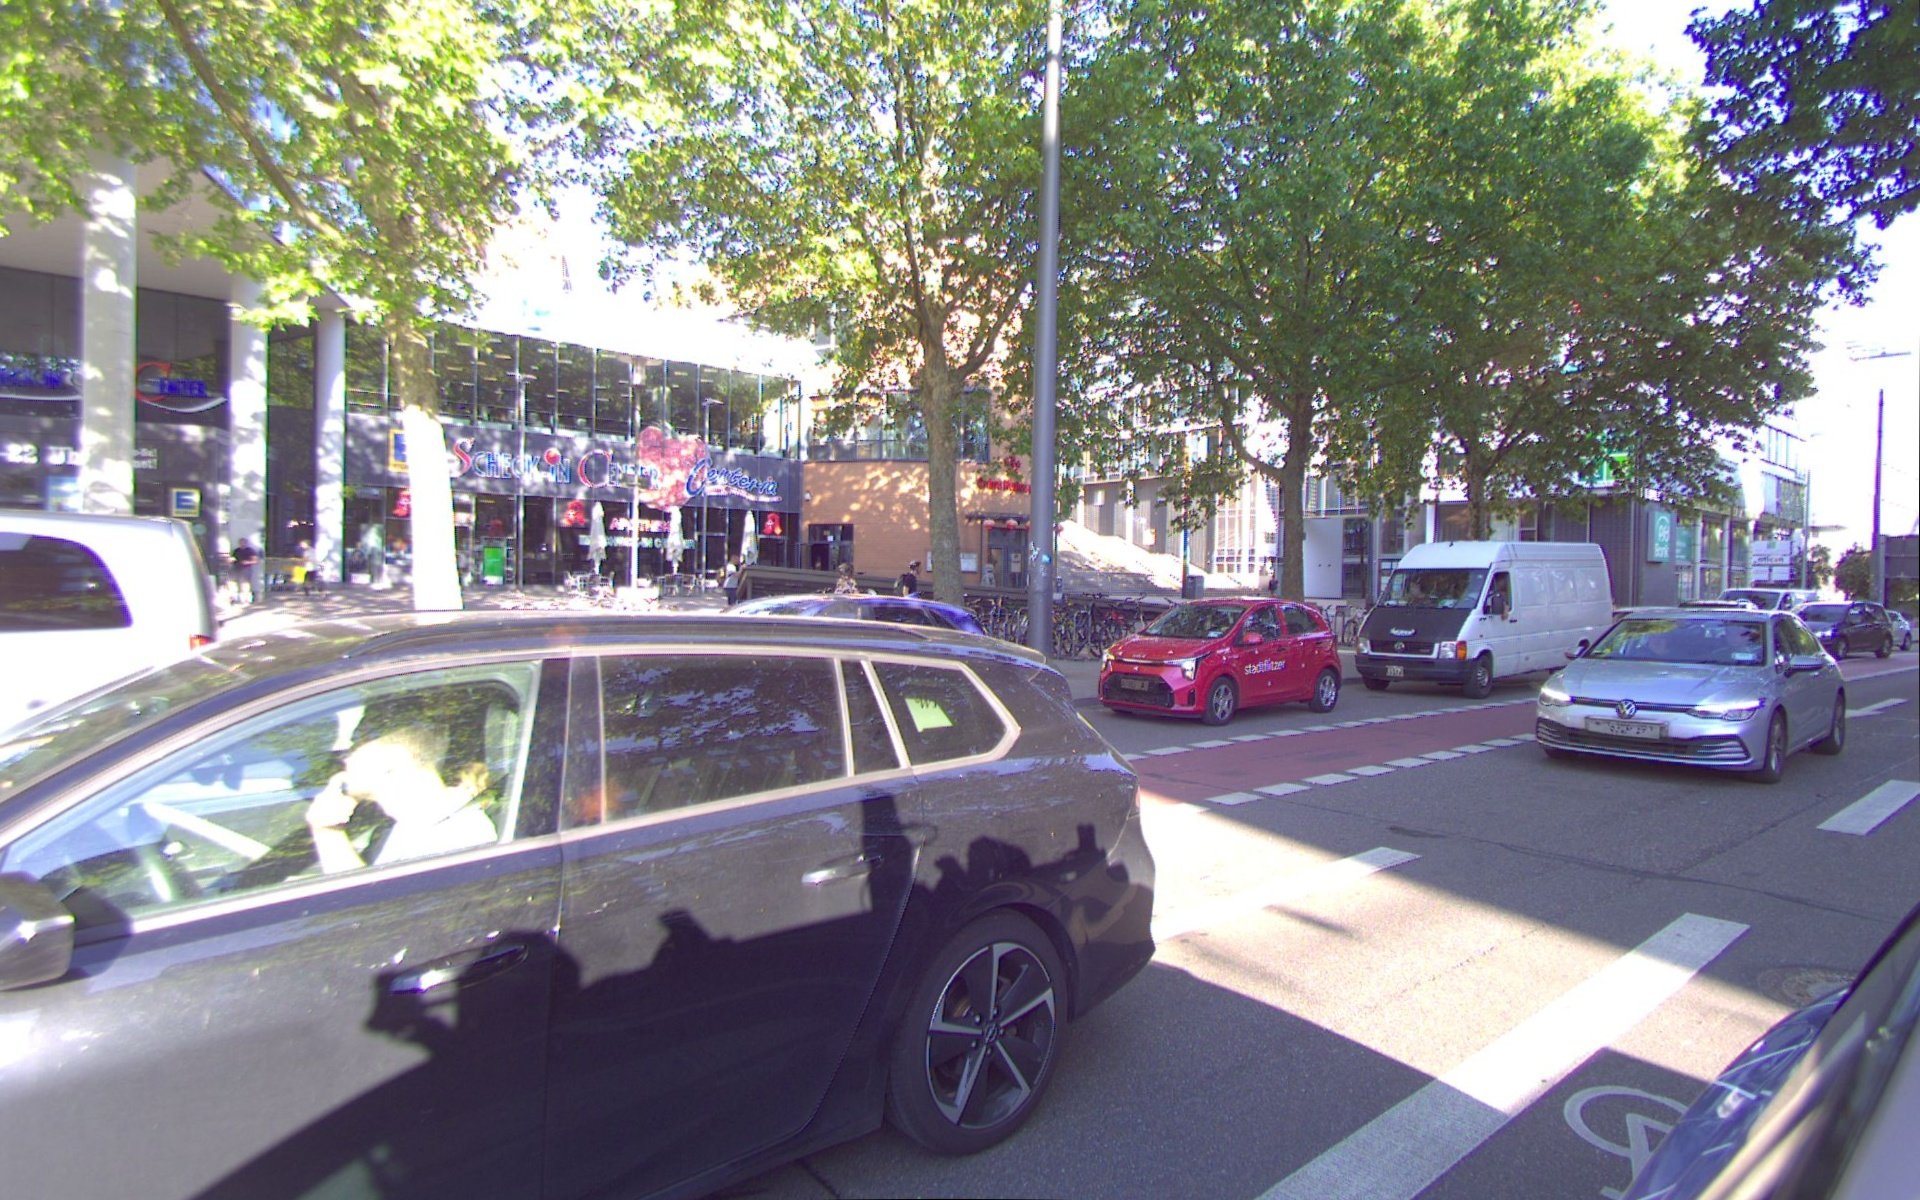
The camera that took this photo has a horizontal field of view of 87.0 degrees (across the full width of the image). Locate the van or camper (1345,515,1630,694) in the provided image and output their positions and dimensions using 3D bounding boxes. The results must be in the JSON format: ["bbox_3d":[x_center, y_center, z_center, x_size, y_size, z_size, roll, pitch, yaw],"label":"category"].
[{"bbox_3d":[9.328,0.050,17.567,6.456,2.611,1.998,0,0,-39],"label":"van or camper"}]

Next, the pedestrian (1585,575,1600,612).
[{"bbox_3d":[23.937,-0.235,38.283,0.492,1.392,0.301,0,1,-37],"label":"pedestrian"}]

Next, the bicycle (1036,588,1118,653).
[{"bbox_3d":[2.302,0.390,19.751,1.818,1.209,0.448,0,1,-41],"label":"bicycle"}]

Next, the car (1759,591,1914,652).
[{"bbox_3d":[25.299,0.583,29.191,4.242,1.640,1.970,0,1,-28],"label":"car"}]

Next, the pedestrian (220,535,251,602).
[{"bbox_3d":[-18.695,-0.804,26.114,0.506,1.707,0.604,1,1,-23],"label":"pedestrian"}]

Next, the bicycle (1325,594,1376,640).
[{"bbox_3d":[10.668,0.456,27.632,1.818,1.209,0.495,0,2,-41],"label":"bicycle"}]

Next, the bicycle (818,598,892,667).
[{"bbox_3d":[-1.768,0.533,17.118,1.202,1.110,0.420,0,1,-40],"label":"bicycle"}]

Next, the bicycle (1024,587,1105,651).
[{"bbox_3d":[2.114,0.364,20.260,1.818,1.209,0.484,0,2,-41],"label":"bicycle"}]

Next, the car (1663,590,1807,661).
[{"bbox_3d":[19.750,0.594,25.739,4.148,1.640,1.819,0,1,-36],"label":"car"}]

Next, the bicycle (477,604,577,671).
[{"bbox_3d":[-6.235,0.520,14.597,1.231,0.898,0.462,0,1,-40],"label":"bicycle"}]

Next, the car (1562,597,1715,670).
[{"bbox_3d":[15.044,0.675,22.381,3.927,1.446,1.683,0,1,-38],"label":"car"}]

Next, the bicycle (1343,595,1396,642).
[{"bbox_3d":[11.036,0.480,27.233,1.818,1.209,0.521,0,2,-41],"label":"bicycle"}]

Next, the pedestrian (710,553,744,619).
[{"bbox_3d":[-6.423,-0.386,27.936,0.869,1.805,0.604,1,1,-11],"label":"pedestrian"}]

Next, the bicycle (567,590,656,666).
[{"bbox_3d":[-5.356,0.407,15.589,0.372,1.110,1.269,2,1,41],"label":"bicycle"}]

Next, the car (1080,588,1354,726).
[{"bbox_3d":[3.331,0.610,12.814,3.588,1.476,1.605,0,1,-41],"label":"car"}]

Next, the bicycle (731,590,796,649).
[{"bbox_3d":[-3.884,0.374,20.049,1.202,1.110,0.429,0,1,-40],"label":"bicycle"}]

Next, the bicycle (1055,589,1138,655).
[{"bbox_3d":[2.624,0.400,19.365,1.818,1.209,0.481,0,2,-41],"label":"bicycle"}]

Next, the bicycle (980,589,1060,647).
[{"bbox_3d":[1.259,0.353,20.969,1.818,1.139,0.484,0,2,-41],"label":"bicycle"}]

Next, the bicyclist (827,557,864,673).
[{"bbox_3d":[-1.795,0.228,15.816,0.392,1.782,0.390,0,1,-41],"label":"bicyclist"}]

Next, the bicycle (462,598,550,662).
[{"bbox_3d":[-6.955,0.455,15.543,1.198,0.930,0.442,1,1,-22],"label":"bicycle"}]

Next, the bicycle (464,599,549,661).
[{"bbox_3d":[-7.117,0.464,15.921,1.198,0.938,0.465,1,1,-22],"label":"bicycle"}]

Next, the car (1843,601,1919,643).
[{"bbox_3d":[33.520,0.752,36.517,3.927,1.394,1.802,0,2,-38],"label":"car"}]

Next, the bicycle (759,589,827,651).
[{"bbox_3d":[-3.103,0.367,18.842,1.202,1.110,0.427,0,1,-40],"label":"bicycle"}]

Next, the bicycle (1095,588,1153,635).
[{"bbox_3d":[4.393,0.307,27.067,1.759,1.209,0.517,0,2,-41],"label":"bicycle"}]

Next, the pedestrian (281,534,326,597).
[{"bbox_3d":[-18.373,-0.962,28.317,0.795,1.728,0.714,1,1,16],"label":"pedestrian"}]

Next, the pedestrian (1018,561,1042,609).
[{"bbox_3d":[3.022,-0.653,43.522,0.575,2.062,0.876,1,1,-35],"label":"pedestrian"}]

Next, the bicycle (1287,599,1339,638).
[{"bbox_3d":[9.929,0.507,28.455,1.818,1.046,0.515,0,2,-41],"label":"bicycle"}]

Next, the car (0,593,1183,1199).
[{"bbox_3d":[-1.446,0.701,2.445,4.196,1.432,1.742,0,0,-41],"label":"car"}]

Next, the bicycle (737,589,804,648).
[{"bbox_3d":[-3.639,0.345,19.506,1.202,1.110,0.444,0,1,-40],"label":"bicycle"}]

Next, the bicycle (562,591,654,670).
[{"bbox_3d":[-5.154,0.425,14.840,1.202,1.110,0.396,0,1,-40],"label":"bicycle"}]

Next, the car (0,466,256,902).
[{"bbox_3d":[-6.199,0.359,4.375,5.008,2.004,1.940,0,2,-41],"label":"car"}]

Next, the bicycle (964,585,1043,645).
[{"bbox_3d":[0.938,0.298,21.349,1.818,1.209,0.458,0,1,-41],"label":"bicycle"}]

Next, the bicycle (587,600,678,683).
[{"bbox_3d":[-4.577,0.566,14.181,1.202,1.110,0.269,0,1,-40],"label":"bicycle"}]

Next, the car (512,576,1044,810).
[{"bbox_3d":[-1.368,0.590,8.645,4.177,1.503,1.742,0,2,-41],"label":"car"}]

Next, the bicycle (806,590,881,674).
[{"bbox_3d":[-1.814,0.481,15.825,1.126,1.271,0.379,0,1,-41],"label":"bicycle"}]

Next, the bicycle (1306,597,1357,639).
[{"bbox_3d":[10.312,0.483,28.045,1.766,1.108,0.522,0,2,-41],"label":"bicycle"}]

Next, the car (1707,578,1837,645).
[{"bbox_3d":[26.303,0.346,32.742,4.863,2.020,1.968,0,1,-35],"label":"car"}]

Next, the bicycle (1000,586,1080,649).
[{"bbox_3d":[1.632,0.341,20.521,1.818,1.209,0.447,0,1,-41],"label":"bicycle"}]

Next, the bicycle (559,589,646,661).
[{"bbox_3d":[-5.761,0.387,16.339,0.414,1.110,1.269,2,1,41],"label":"bicycle"}]

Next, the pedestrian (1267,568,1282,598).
[{"bbox_3d":[16.529,-0.889,53.186,0.707,1.578,0.638,1,1,14],"label":"pedestrian"}]

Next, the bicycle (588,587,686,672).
[{"bbox_3d":[-4.424,0.391,13.890,1.202,1.110,0.413,0,1,-40],"label":"bicycle"}]

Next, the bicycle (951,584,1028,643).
[{"bbox_3d":[0.640,0.273,21.702,1.818,1.209,0.434,0,1,-41],"label":"bicycle"}]

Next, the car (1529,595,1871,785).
[{"bbox_3d":[7.181,0.685,9.687,3.928,1.458,1.733,0,0,-39],"label":"car"}]
